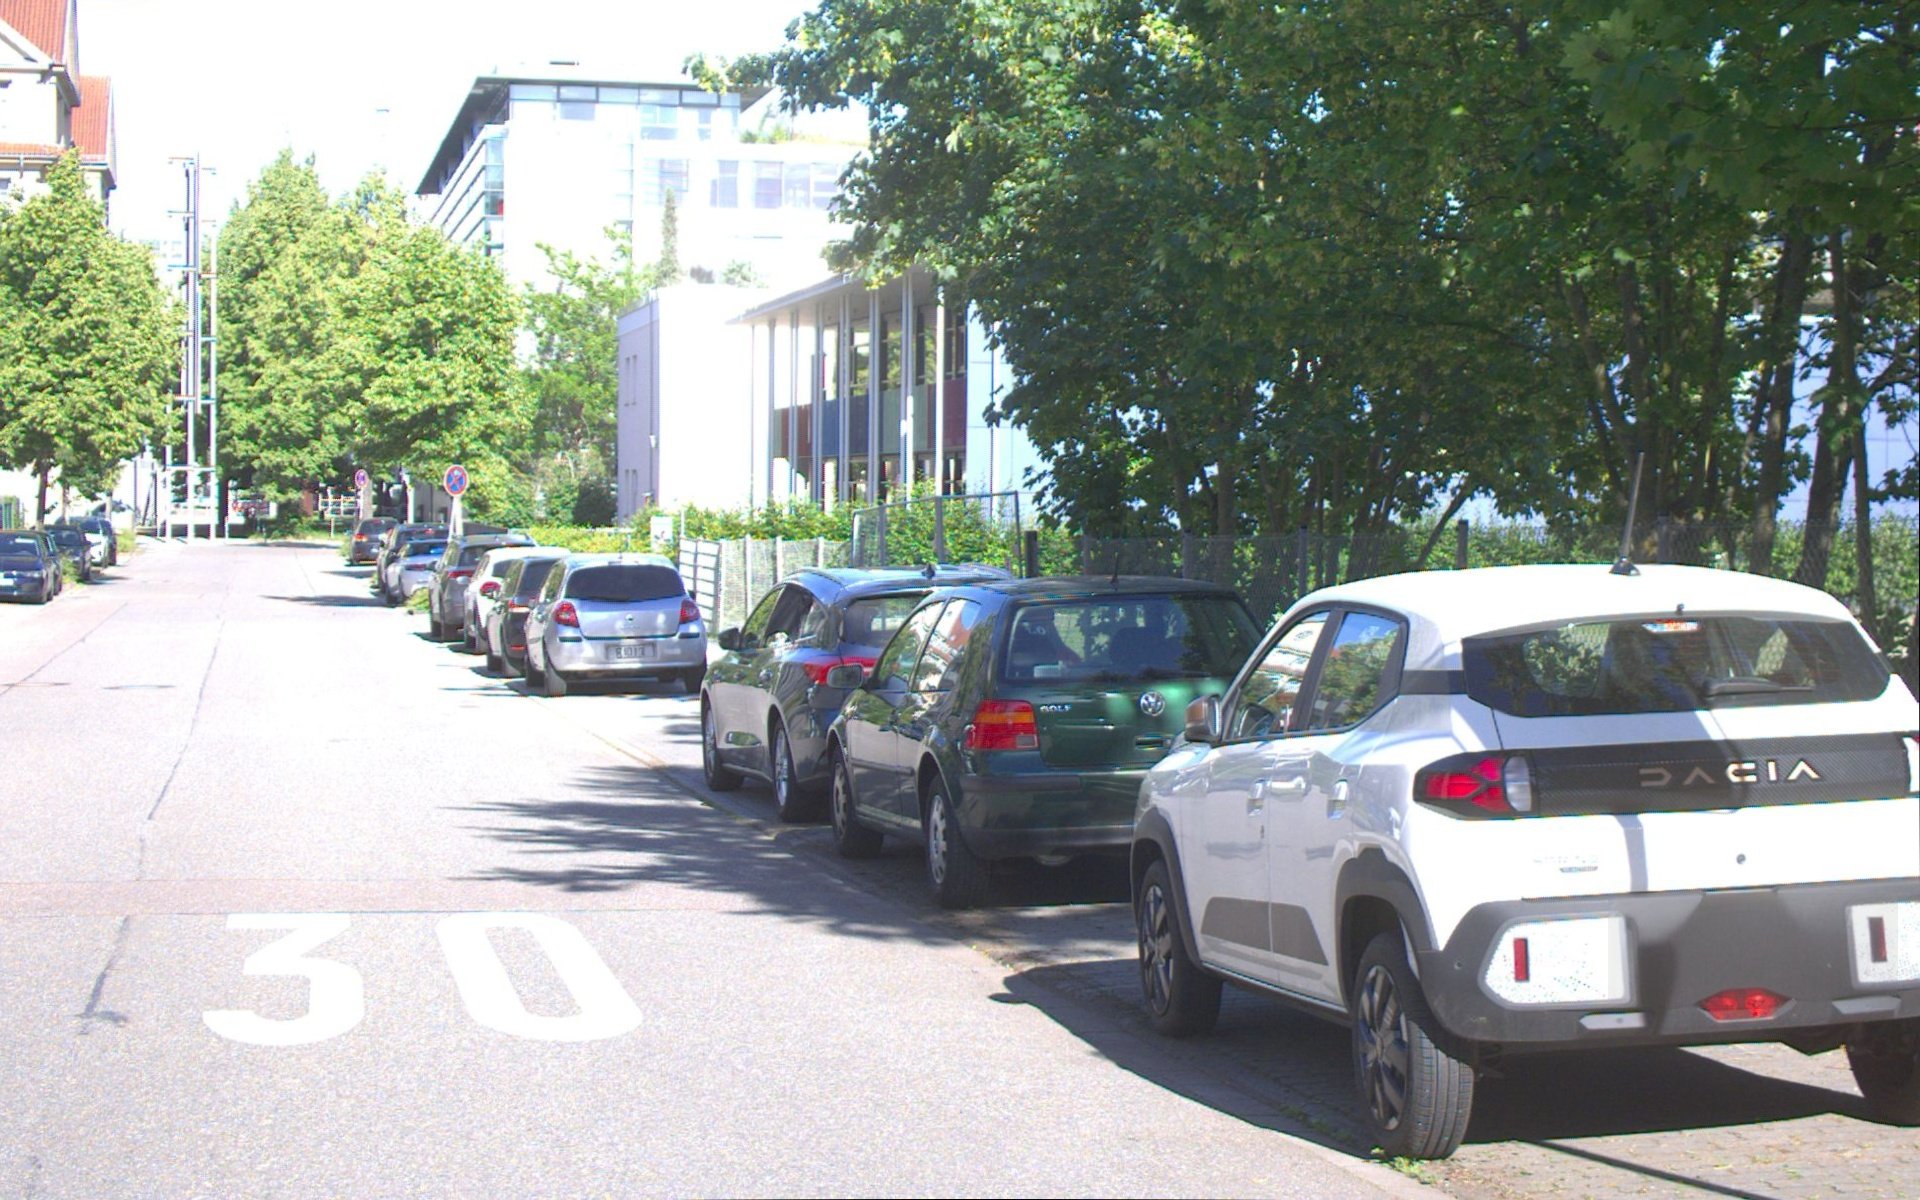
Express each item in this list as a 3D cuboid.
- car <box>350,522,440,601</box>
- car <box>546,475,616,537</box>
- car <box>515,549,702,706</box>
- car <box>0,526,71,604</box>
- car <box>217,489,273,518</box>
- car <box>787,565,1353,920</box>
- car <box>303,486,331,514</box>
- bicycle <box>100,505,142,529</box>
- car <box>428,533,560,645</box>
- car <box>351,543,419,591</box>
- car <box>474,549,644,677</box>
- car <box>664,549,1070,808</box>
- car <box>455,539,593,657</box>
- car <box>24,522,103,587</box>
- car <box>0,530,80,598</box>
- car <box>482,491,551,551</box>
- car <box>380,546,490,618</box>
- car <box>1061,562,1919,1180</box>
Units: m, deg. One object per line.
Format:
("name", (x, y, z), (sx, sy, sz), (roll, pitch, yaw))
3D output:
("car", (-13.130, -0.910, 79.802), (1.820, 1.713, 4.121), (-2, 2, -12))
("car", (-12.872, -3.203, 116.577), (1.993, 2.006, 4.002), (0, 2, -11))
("car", (-3.873, 0.260, 37.437), (1.662, 1.507, 4.002), (1, 2, -11))
("car", (-19.774, -0.762, 71.939), (1.761, 1.522, 4.001), (3, 1, -8))
("car", (-52.779, -7.129, 253.904), (3.986, 2.006, 2.001), (1, 2, -10))
("car", (0.376, 0.580, 16.457), (1.824, 1.467, 4.070), (1, 1, -11))
("car", (-47.936, -7.424, 256.204), (1.993, 2.006, 4.002), (1, 2, -11))
("bicycle", (-30.462, -3.016, 124.851), (1.467, 0.839, 0.336), (0, 2, -15))
("car", (-7.479, -0.217, 54.886), (1.725, 1.646, 4.327), (-2, 2, -12))
("car", (-18.245, -1.059, 108.917), (1.993, 1.481, 4.001), (0, 1, -11))
("car", (-4.966, 0.131, 42.204), (1.687, 1.489, 4.079), (0, 1, -12))
("car", (-0.692, 0.409, 21.309), (1.675, 1.433, 4.441), (0, 1, -13))
("car", (-6.352, -0.053, 49.798), (1.679, 1.536, 3.850), (1, 2, -12))
("car", (-22.852, -1.183, 87.705), (1.694, 1.599, 3.943), (1, 1, -11))
("car", (-20.960, -0.830, 78.186), (1.629, 1.496, 3.579), (1, 1, -11))
("car", (-14.999, -2.654, 116.096), (2.023, 2.007, 4.001), (0, 1, -11))
("car", (-11.174, -0.408, 72.929), (1.829, 1.417, 4.235), (-2, 1, -15))
("car", (1.509, 0.645, 10.199), (1.619, 1.446, 4.091), (1, 0, -10))
